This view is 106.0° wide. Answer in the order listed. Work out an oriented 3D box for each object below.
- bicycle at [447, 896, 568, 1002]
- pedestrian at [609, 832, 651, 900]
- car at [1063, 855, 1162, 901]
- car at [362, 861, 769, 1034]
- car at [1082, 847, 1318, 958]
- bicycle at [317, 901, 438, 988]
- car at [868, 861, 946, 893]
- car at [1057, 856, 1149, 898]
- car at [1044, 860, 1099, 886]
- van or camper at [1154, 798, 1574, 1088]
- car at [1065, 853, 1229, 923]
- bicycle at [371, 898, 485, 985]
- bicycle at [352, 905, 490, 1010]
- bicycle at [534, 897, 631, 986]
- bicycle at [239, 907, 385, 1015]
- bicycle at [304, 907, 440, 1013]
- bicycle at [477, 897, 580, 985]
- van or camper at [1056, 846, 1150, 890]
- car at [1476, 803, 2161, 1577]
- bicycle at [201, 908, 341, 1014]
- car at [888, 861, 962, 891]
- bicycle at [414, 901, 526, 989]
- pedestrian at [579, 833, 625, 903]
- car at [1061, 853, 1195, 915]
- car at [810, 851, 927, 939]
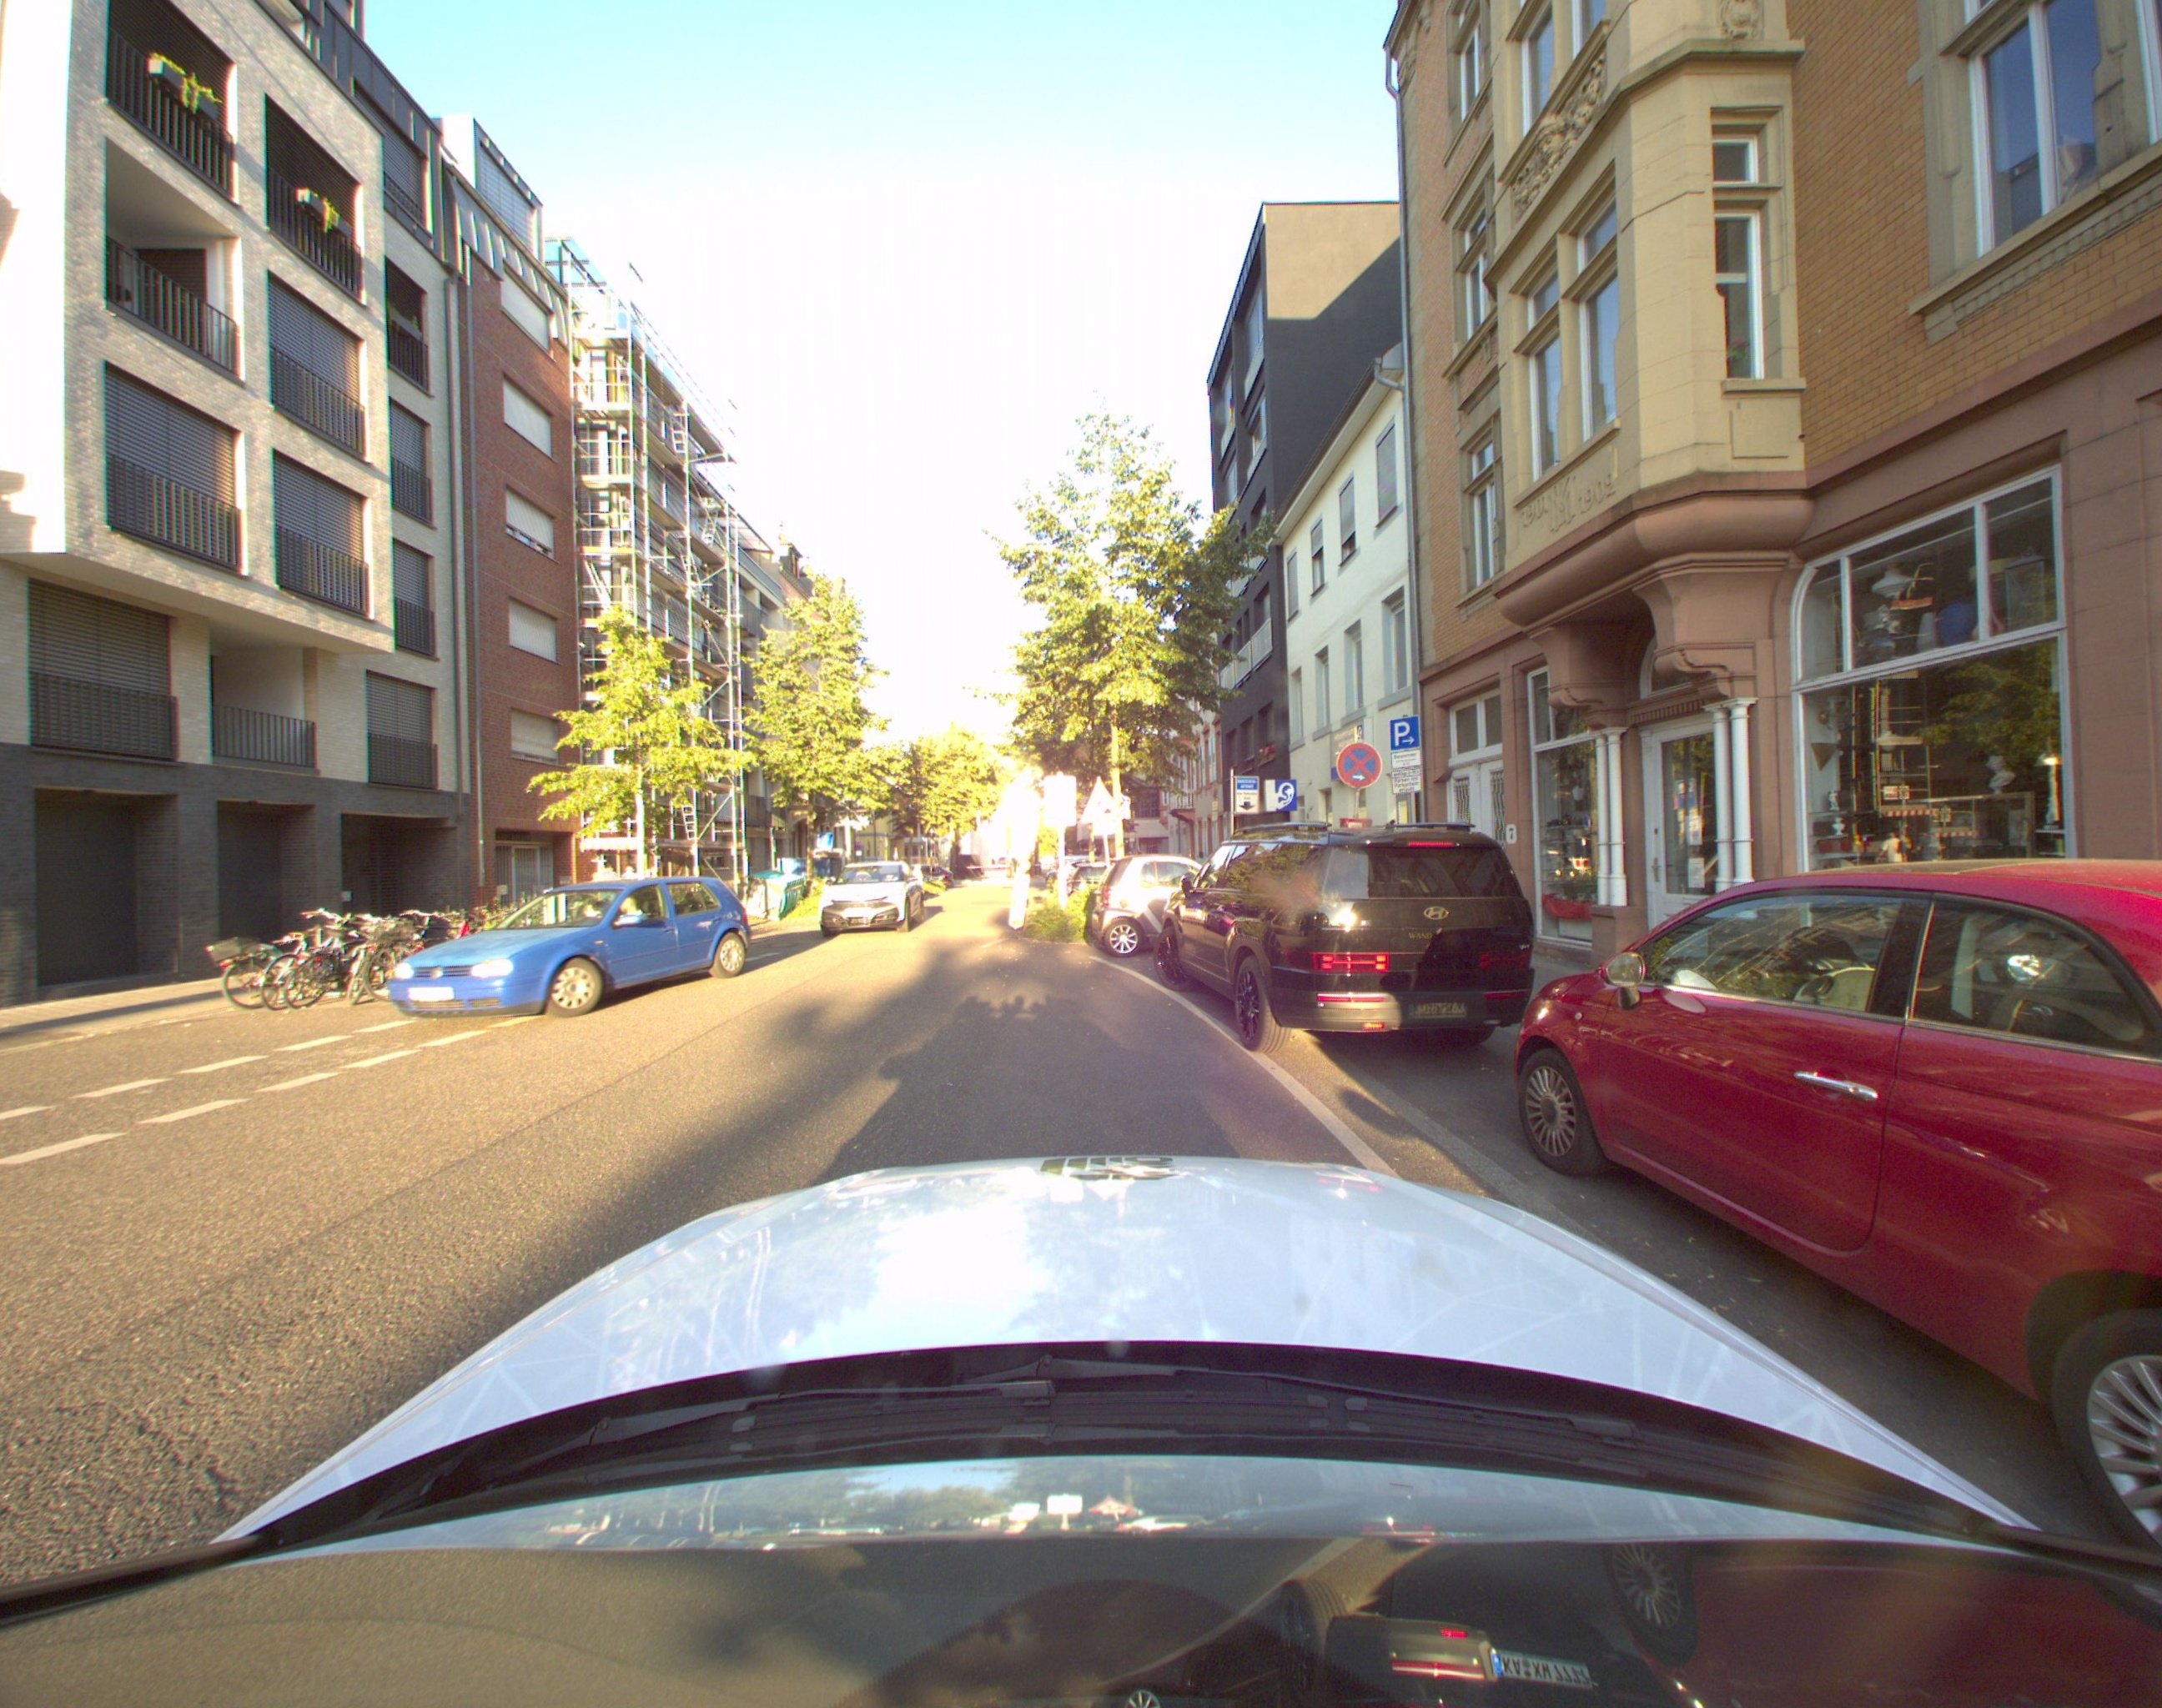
[{"bbox_3d":[-7.539,1.206,10.786,0.496,1.220,1.551,-2,0,-1],"label":"bicycle"},{"bbox_3d":[-12.250,0.325,22.133,0.739,1.783,0.656,-2,-1,-3],"label":"pedestrian"},{"bbox_3d":[1.186,0.902,31.541,3.677,1.670,1.856,0,-1,-4],"label":"car"},{"bbox_3d":[-5.775,0.927,9.852,1.677,1.563,4.132,-3,0,12],"label":"car"},{"bbox_3d":[1.858,0.726,13.186,3.470,1.575,1.502,-2,0,-10],"label":"car"},{"bbox_3d":[-10.502,1.317,12.222,0.456,1.132,1.551,-2,0,-1],"label":"bicycle"},{"bbox_3d":[-9.819,1.275,46.196,3.973,1.684,1.891,-1,0,1],"label":"car"},{"bbox_3d":[0.872,0.928,34.028,3.677,1.670,1.856,0,-1,-4],"label":"car"},{"bbox_3d":[-0.578,1.194,52.258,1.834,1.568,3.720,-1,-1,32],"label":"car"},{"bbox_3d":[2.053,0.565,7.458,1.887,1.807,4.451,-1,0,-6],"label":"van or camper"},{"bbox_3d":[1.613,0.829,20.865,3.987,1.670,1.856,0,-1,-4],"label":"car"},{"bbox_3d":[-9.804,1.281,12.295,0.466,1.144,1.551,-2,0,-1],"label":"bicycle"},{"bbox_3d":[-8.510,1.296,10.578,0.415,1.157,1.554,-2,0,4],"label":"bicycle"},{"bbox_3d":[-7.538,1.293,12.396,0.506,1.179,1.551,-2,0,-1],"label":"bicycle"},{"bbox_3d":[-9.835,1.323,10.487,0.385,1.189,1.551,-2,0,-1],"label":"bicycle"},{"bbox_3d":[-9.073,1.316,10.497,0.379,1.159,1.551,-2,0,0],"label":"bicycle"},{"bbox_3d":[-8.343,1.271,12.362,0.486,1.163,1.551,-2,0,-1],"label":"bicycle"},{"bbox_3d":[1.013,0.655,39.139,4.430,2.005,1.856,0,-1,-4],"label":"van or camper"},{"bbox_3d":[2.959,0.677,2.837,1.520,1.570,3.422,-1,0,0],"label":"car"},{"bbox_3d":[-10.375,1.331,10.495,0.386,1.183,1.405,-2,0,-1],"label":"bicycle"},{"bbox_3d":[-9.327,1.296,48.887,3.973,1.684,1.891,-1,0,1],"label":"car"},{"bbox_3d":[-9.105,1.320,12.202,0.486,1.149,1.551,-2,0,-1],"label":"bicycle"},{"bbox_3d":[-12.538,0.357,21.326,0.739,1.783,0.656,-2,-1,-1],"label":"pedestrian"},{"bbox_3d":[1.290,0.835,23.530,3.677,1.670,1.856,0,-1,-4],"label":"car"},{"bbox_3d":[-4.791,0.865,19.002,1.870,1.697,4.312,-4,0,-6],"label":"car"}]
